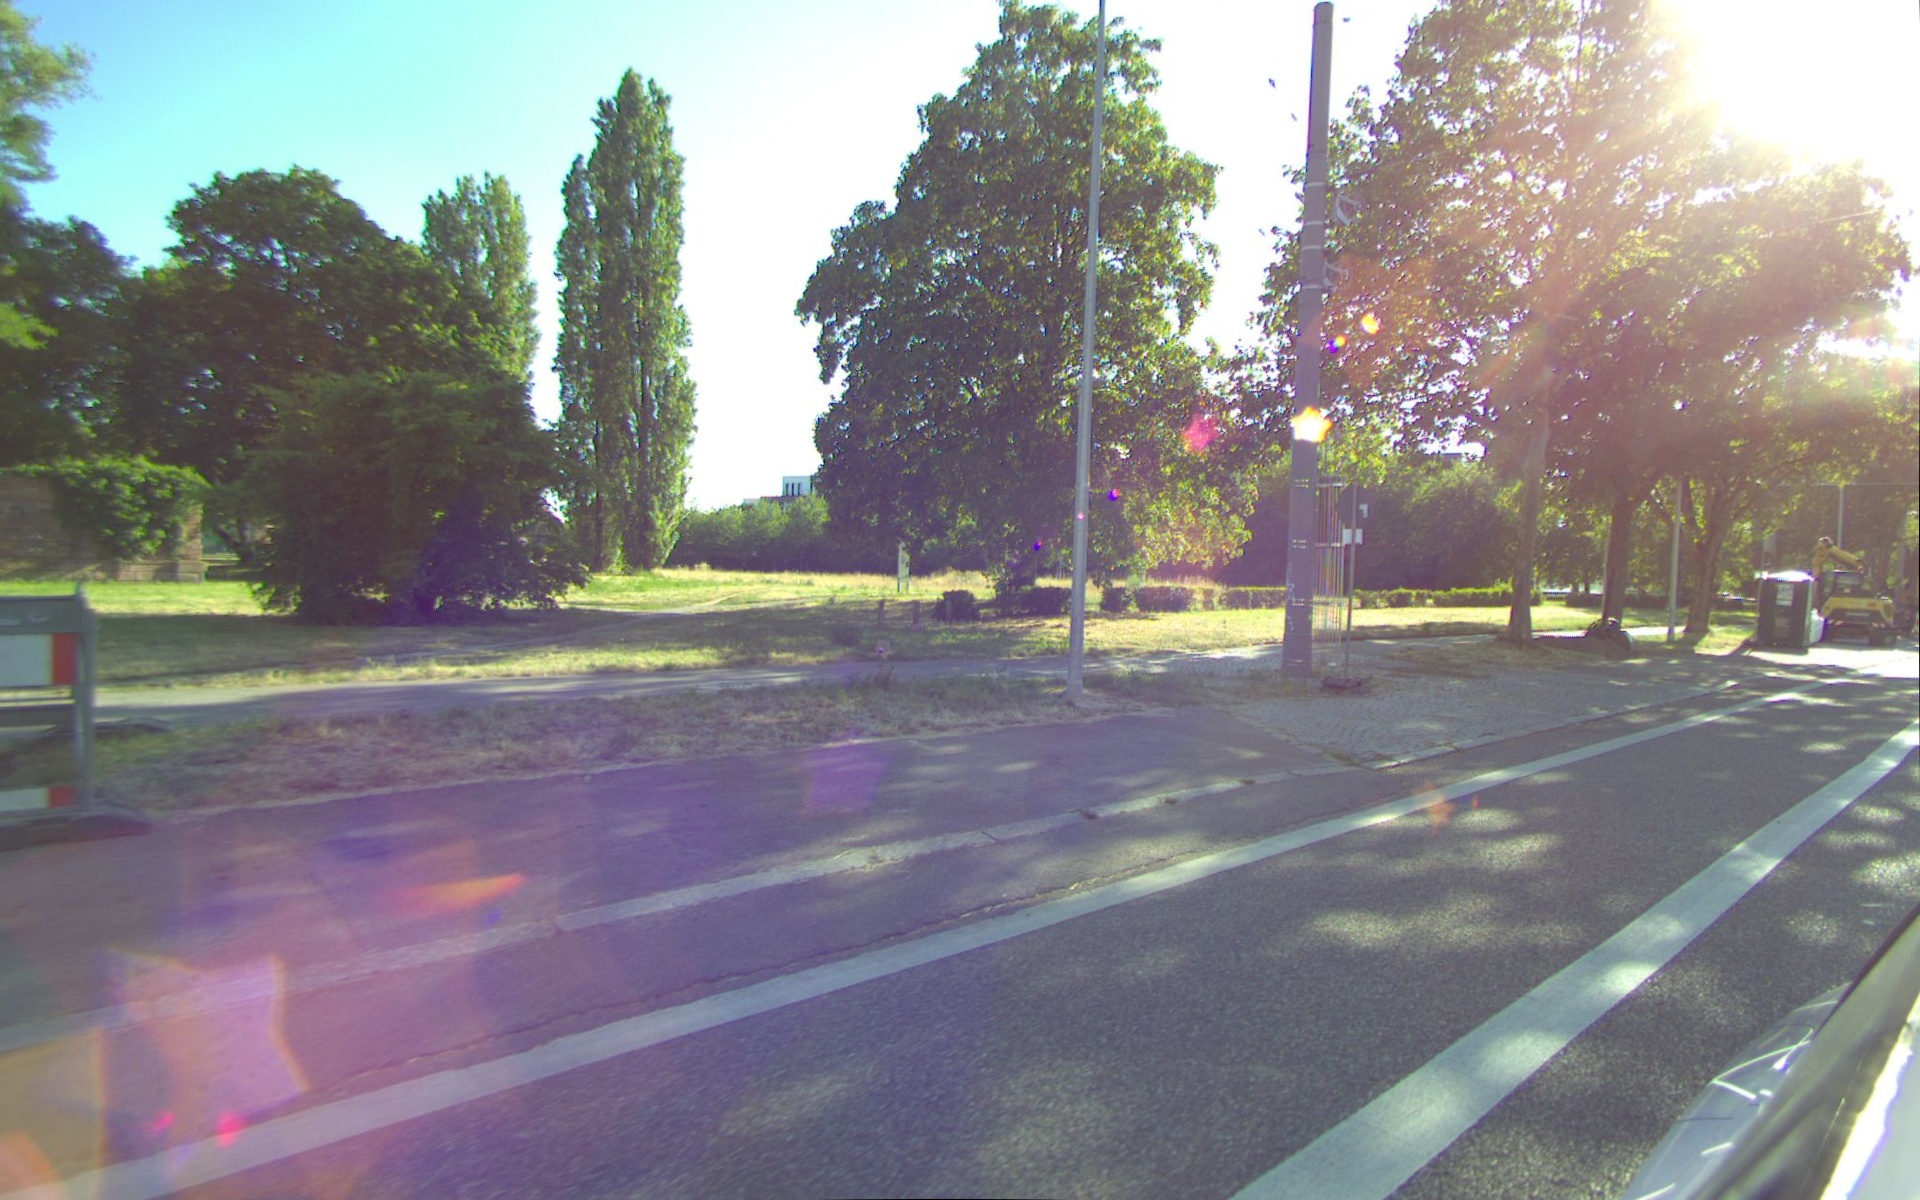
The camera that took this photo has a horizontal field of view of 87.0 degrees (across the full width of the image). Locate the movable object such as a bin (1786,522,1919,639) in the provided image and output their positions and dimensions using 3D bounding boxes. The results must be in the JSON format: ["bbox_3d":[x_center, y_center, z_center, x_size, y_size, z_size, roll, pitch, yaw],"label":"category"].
[{"bbox_3d":[35.162,-0.772,39.481,7.471,4.023,3.344,0,5,-43],"label":"movable object such as a bin"}]

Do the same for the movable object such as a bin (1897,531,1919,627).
[{"bbox_3d":[50.454,-0.956,51.714,7.471,4.665,2.919,0,5,-43],"label":"movable object such as a bin"}]
